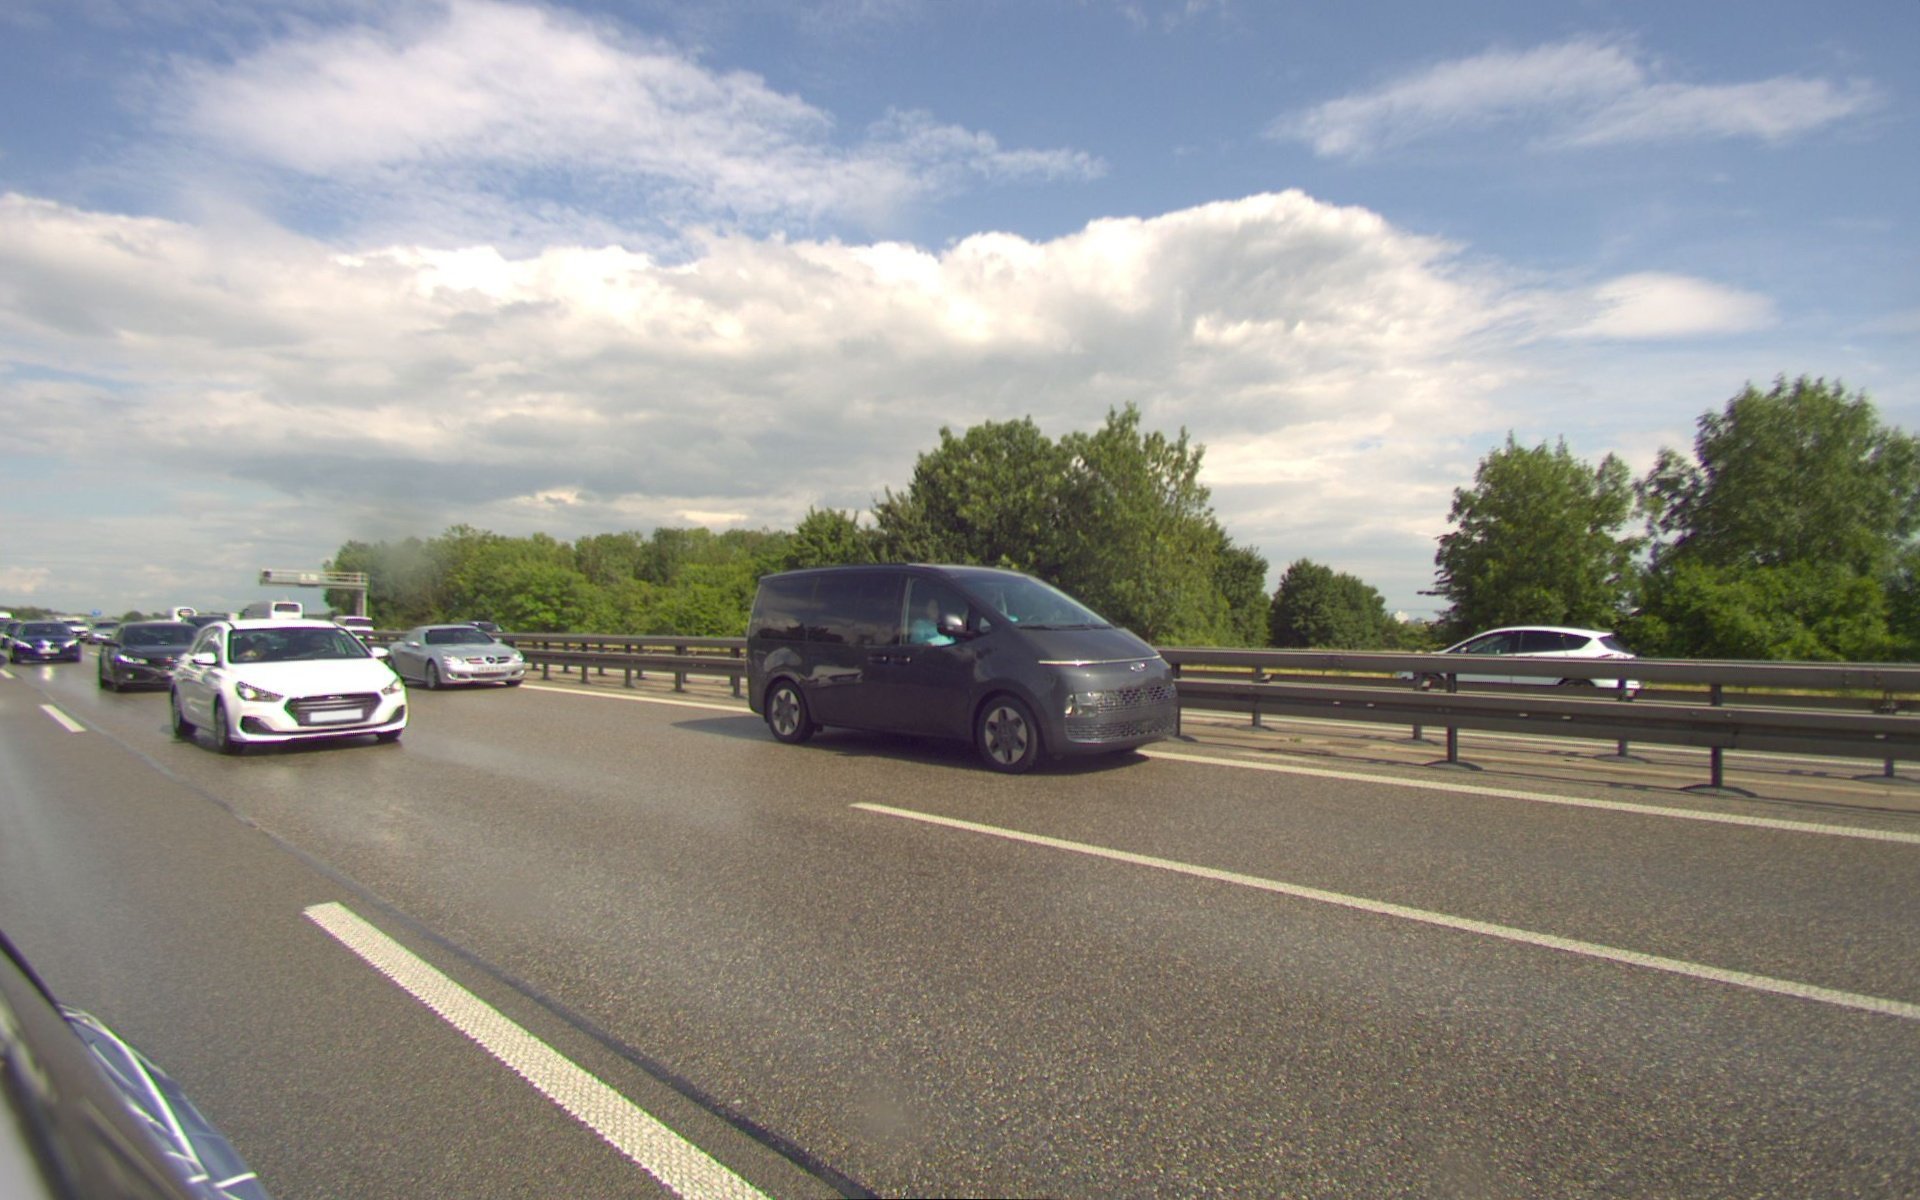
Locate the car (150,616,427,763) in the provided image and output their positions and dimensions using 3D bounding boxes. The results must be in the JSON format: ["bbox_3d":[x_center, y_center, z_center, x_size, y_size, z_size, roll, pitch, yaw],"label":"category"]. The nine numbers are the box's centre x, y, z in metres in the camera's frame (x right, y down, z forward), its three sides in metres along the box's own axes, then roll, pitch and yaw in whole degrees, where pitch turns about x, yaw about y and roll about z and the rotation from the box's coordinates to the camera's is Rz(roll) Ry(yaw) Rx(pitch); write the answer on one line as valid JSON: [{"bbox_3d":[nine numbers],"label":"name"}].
[{"bbox_3d":[-8.352,0.950,12.403,4.548,1.466,1.861,-1,-1,43],"label":"car"}]

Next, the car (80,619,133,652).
[{"bbox_3d":[-51.505,2.103,61.065,4.000,1.761,1.972,0,1,43],"label":"car"}]

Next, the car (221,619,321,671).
[{"bbox_3d":[-21.139,1.324,30.984,4.140,1.436,1.747,-1,0,44],"label":"car"}]

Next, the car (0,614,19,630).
[{"bbox_3d":[-108.124,2.499,114.563,4.000,1.710,1.972,0,1,43],"label":"car"}]

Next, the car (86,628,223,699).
[{"bbox_3d":[-17.274,1.283,21.623,4.288,1.348,1.705,-1,-1,43],"label":"car"}]

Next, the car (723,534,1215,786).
[{"bbox_3d":[-0.169,0.531,10.691,5.270,2.029,1.971,-1,-1,43],"label":"car"}]

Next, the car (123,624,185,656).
[{"bbox_3d":[-38.527,1.860,48.361,4.000,1.389,1.747,0,-1,43],"label":"car"}]

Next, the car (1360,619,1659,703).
[{"bbox_3d":[11.121,1.153,20.715,5.035,1.498,2.095,-1,-1,41],"label":"car"}]

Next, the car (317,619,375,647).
[{"bbox_3d":[-40.346,2.142,66.451,4.946,1.747,1.971,-1,-1,43],"label":"car"}]

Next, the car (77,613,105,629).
[{"bbox_3d":[-97.427,2.372,113.428,4.462,1.792,1.971,-1,-1,44],"label":"car"}]

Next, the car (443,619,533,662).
[{"bbox_3d":[-19.155,1.587,41.009,4.000,1.641,1.972,-1,-2,43],"label":"car"}]

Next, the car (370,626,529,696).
[{"bbox_3d":[-10.706,1.206,21.106,4.064,1.288,1.705,-1,-1,43],"label":"car"}]

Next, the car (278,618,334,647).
[{"bbox_3d":[-38.273,1.872,59.225,3.831,1.641,1.860,-1,-2,43],"label":"car"}]

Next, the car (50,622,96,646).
[{"bbox_3d":[-61.178,2.345,69.780,4.000,1.490,1.972,0,1,43],"label":"car"}]

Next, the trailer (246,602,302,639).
[{"bbox_3d":[-65.793,1.961,96.944,9.565,3.407,2.699,-1,-1,45],"label":"trailer"}]

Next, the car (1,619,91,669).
[{"bbox_3d":[-31.570,1.466,34.916,4.000,1.497,1.972,0,1,43],"label":"car"}]

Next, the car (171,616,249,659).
[{"bbox_3d":[-29.915,1.450,40.311,4.230,1.618,1.849,-1,-1,44],"label":"car"}]
